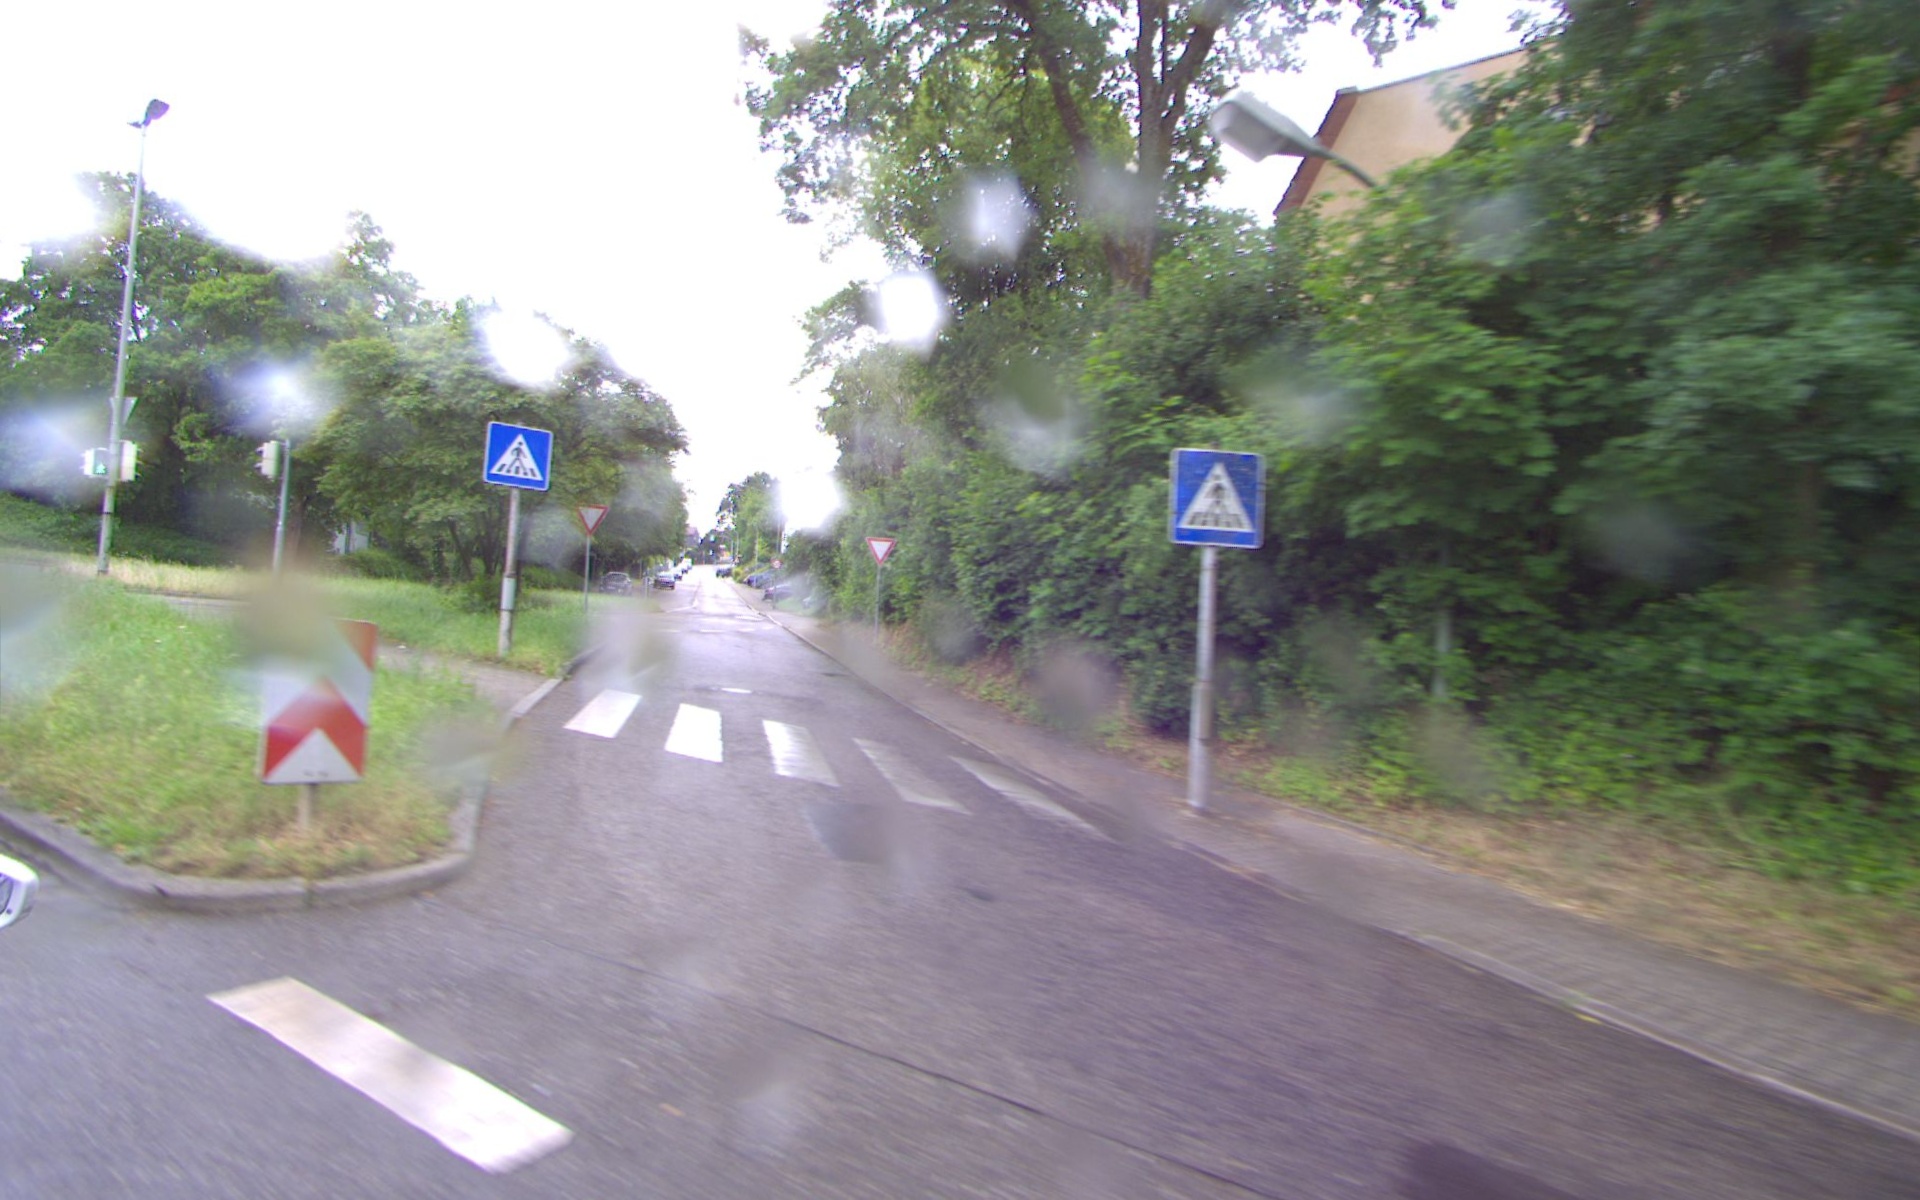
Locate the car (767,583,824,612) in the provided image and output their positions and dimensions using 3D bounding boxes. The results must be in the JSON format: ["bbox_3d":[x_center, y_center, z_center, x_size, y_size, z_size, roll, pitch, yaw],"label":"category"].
[{"bbox_3d":[-12.503,-0.181,76.268,3.938,1.668,1.952,7,-1,-15],"label":"car"}]

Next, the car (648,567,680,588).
[{"bbox_3d":[-26.847,-2.022,91.477,1.672,1.462,4.003,8,-3,-2],"label":"car"}]

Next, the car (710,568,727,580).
[{"bbox_3d":[-35.877,-3.861,149.317,1.919,1.474,4.201,8,-3,-19],"label":"car"}]

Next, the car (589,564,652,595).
[{"bbox_3d":[-21.972,-1.297,65.319,1.793,1.590,4.003,7,-1,15],"label":"car"}]
